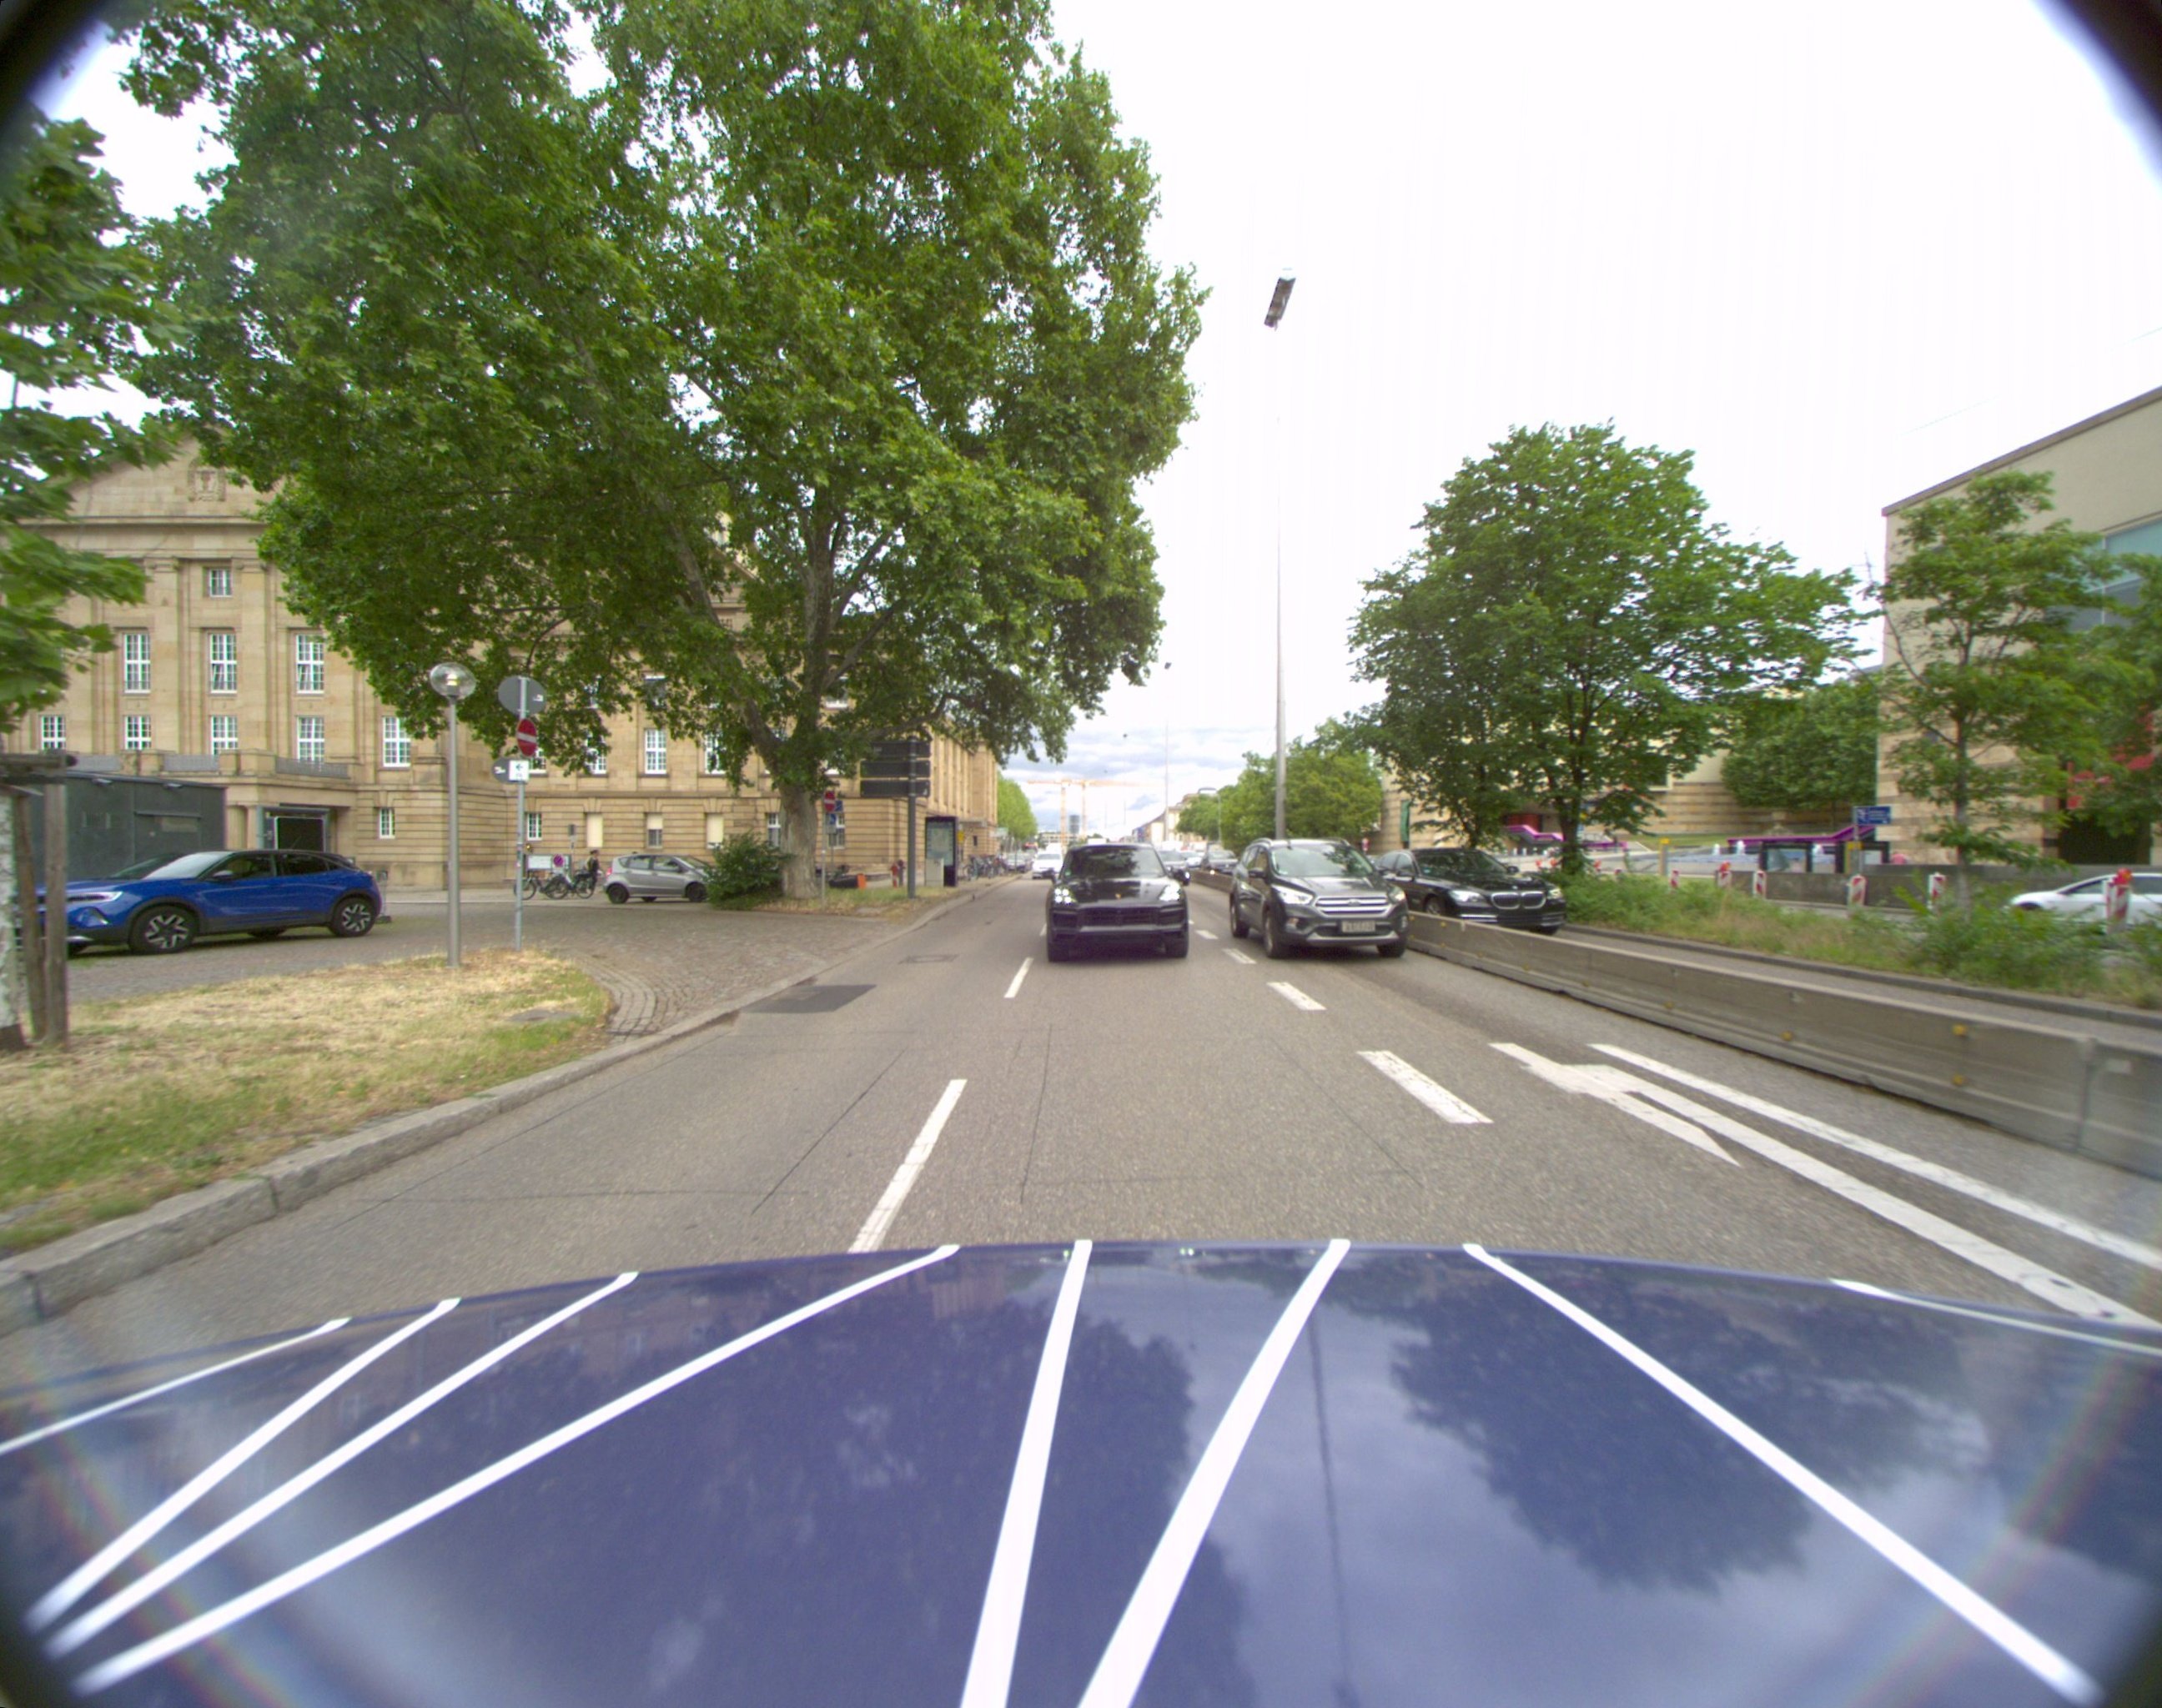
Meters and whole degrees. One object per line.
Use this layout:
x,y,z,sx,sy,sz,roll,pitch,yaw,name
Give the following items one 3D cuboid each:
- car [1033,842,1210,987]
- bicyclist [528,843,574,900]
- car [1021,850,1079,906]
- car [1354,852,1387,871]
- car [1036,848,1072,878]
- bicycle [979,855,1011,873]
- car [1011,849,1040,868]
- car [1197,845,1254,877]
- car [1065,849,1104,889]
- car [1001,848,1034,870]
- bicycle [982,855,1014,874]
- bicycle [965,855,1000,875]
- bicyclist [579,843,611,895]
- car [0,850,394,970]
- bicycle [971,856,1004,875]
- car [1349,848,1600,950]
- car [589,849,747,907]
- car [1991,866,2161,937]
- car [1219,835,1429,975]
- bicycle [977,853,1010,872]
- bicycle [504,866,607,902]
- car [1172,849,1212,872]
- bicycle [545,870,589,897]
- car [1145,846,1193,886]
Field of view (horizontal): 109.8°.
0.434,0.694,11.444,2.061,1.616,4.600,-3,1,-2,car
-19.122,0.622,27.452,1.013,2.002,1.102,-1,0,-16,bicyclist
-0.897,0.684,23.669,1.582,1.600,3.578,0,1,2,car
24.797,0.637,65.167,1.582,1.600,3.578,0,1,2,car
-1.554,0.489,44.654,1.695,1.585,4.000,-2,1,4,car
-5.152,0.603,45.685,1.842,1.066,0.531,-1,1,-18,bicycle
-4.742,0.365,65.286,1.867,1.585,4.000,0,1,4,car
7.161,0.314,38.107,1.998,1.474,4.809,0,0,1,car
0.197,0.578,32.421,1.582,1.600,3.578,0,1,2,car
-4.691,0.347,56.784,1.843,1.522,4.000,0,1,4,car
-4.888,0.620,44.775,1.841,1.066,0.532,0,1,-7,bicycle
-5.580,0.634,43.143,1.918,1.092,0.541,0,1,-6,bicycle
-19.445,0.584,30.419,0.879,2.002,0.842,-3,2,-24,bicyclist
-13.481,0.738,11.739,1.767,1.509,4.219,0,-1,4,car
-5.387,0.650,43.836,1.841,1.066,0.618,0,1,-6,bicycle
6.574,0.646,13.461,1.998,1.474,4.809,0,0,1,car
-13.115,0.737,24.285,3.997,1.587,1.734,-2,1,1,car
22.881,1.011,16.686,1.355,1.281,3.736,-2,1,1,car
3.454,0.633,11.809,1.898,1.705,4.658,-1,0,2,car
-5.422,0.517,47.223,1.939,1.126,0.540,-1,1,-18,bicycle
-19.054,1.075,27.640,2.846,1.178,1.096,-1,1,-15,bicycle
7.310,0.383,50.519,1.998,1.474,4.809,0,1,1,car
-20.356,1.160,30.136,0.918,0.926,2.674,-3,1,-24,bicycle
3.675,0.447,32.398,1.767,1.507,4.152,-1,1,3,car
